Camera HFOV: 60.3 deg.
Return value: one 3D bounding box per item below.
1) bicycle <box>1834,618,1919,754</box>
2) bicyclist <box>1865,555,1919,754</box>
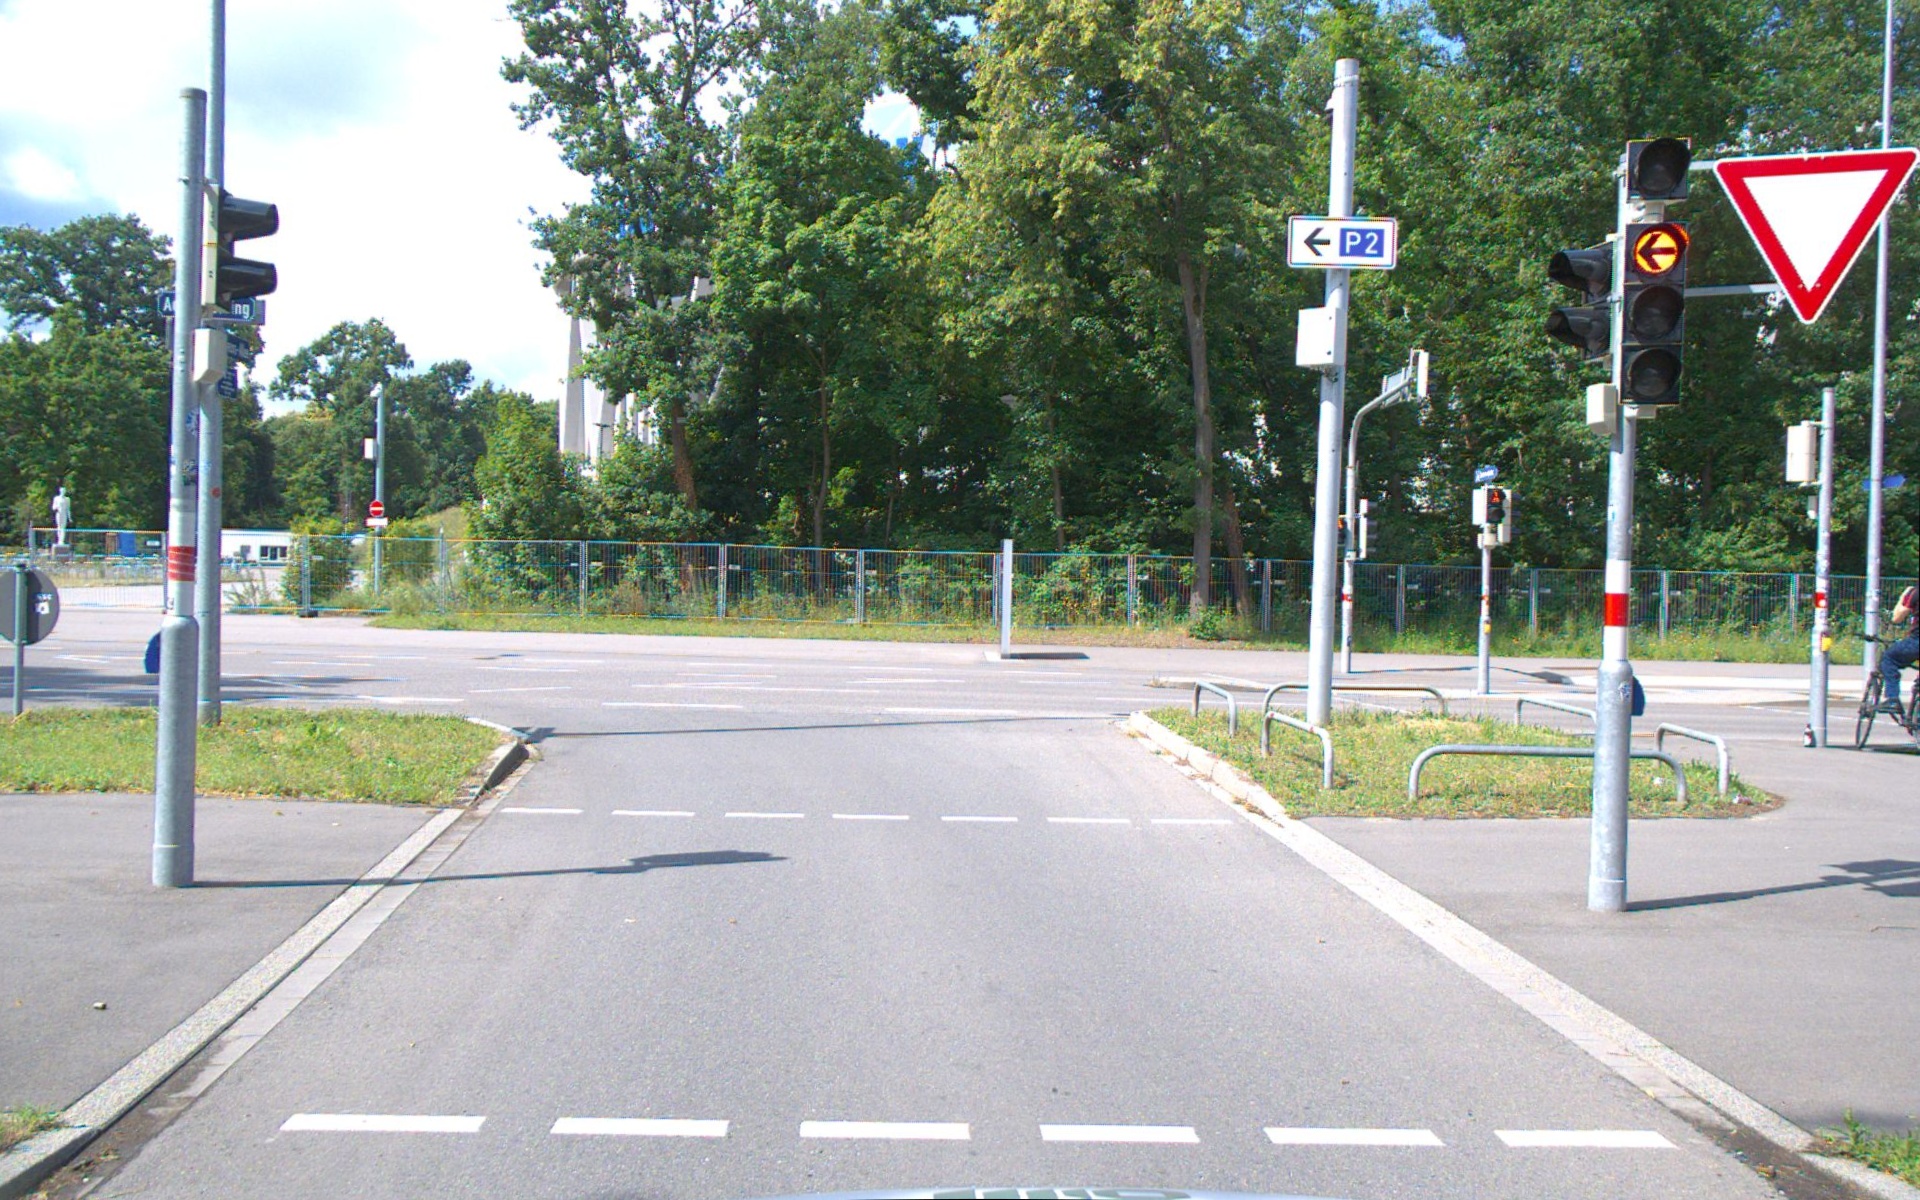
[{"bbox_3d":[9.237,0.795,15.911,0.861,1.227,1.899,1,0,8],"label":"bicycle"},{"bbox_3d":[9.230,0.513,15.638,0.866,1.829,0.979,1,-1,7],"label":"bicyclist"}]
